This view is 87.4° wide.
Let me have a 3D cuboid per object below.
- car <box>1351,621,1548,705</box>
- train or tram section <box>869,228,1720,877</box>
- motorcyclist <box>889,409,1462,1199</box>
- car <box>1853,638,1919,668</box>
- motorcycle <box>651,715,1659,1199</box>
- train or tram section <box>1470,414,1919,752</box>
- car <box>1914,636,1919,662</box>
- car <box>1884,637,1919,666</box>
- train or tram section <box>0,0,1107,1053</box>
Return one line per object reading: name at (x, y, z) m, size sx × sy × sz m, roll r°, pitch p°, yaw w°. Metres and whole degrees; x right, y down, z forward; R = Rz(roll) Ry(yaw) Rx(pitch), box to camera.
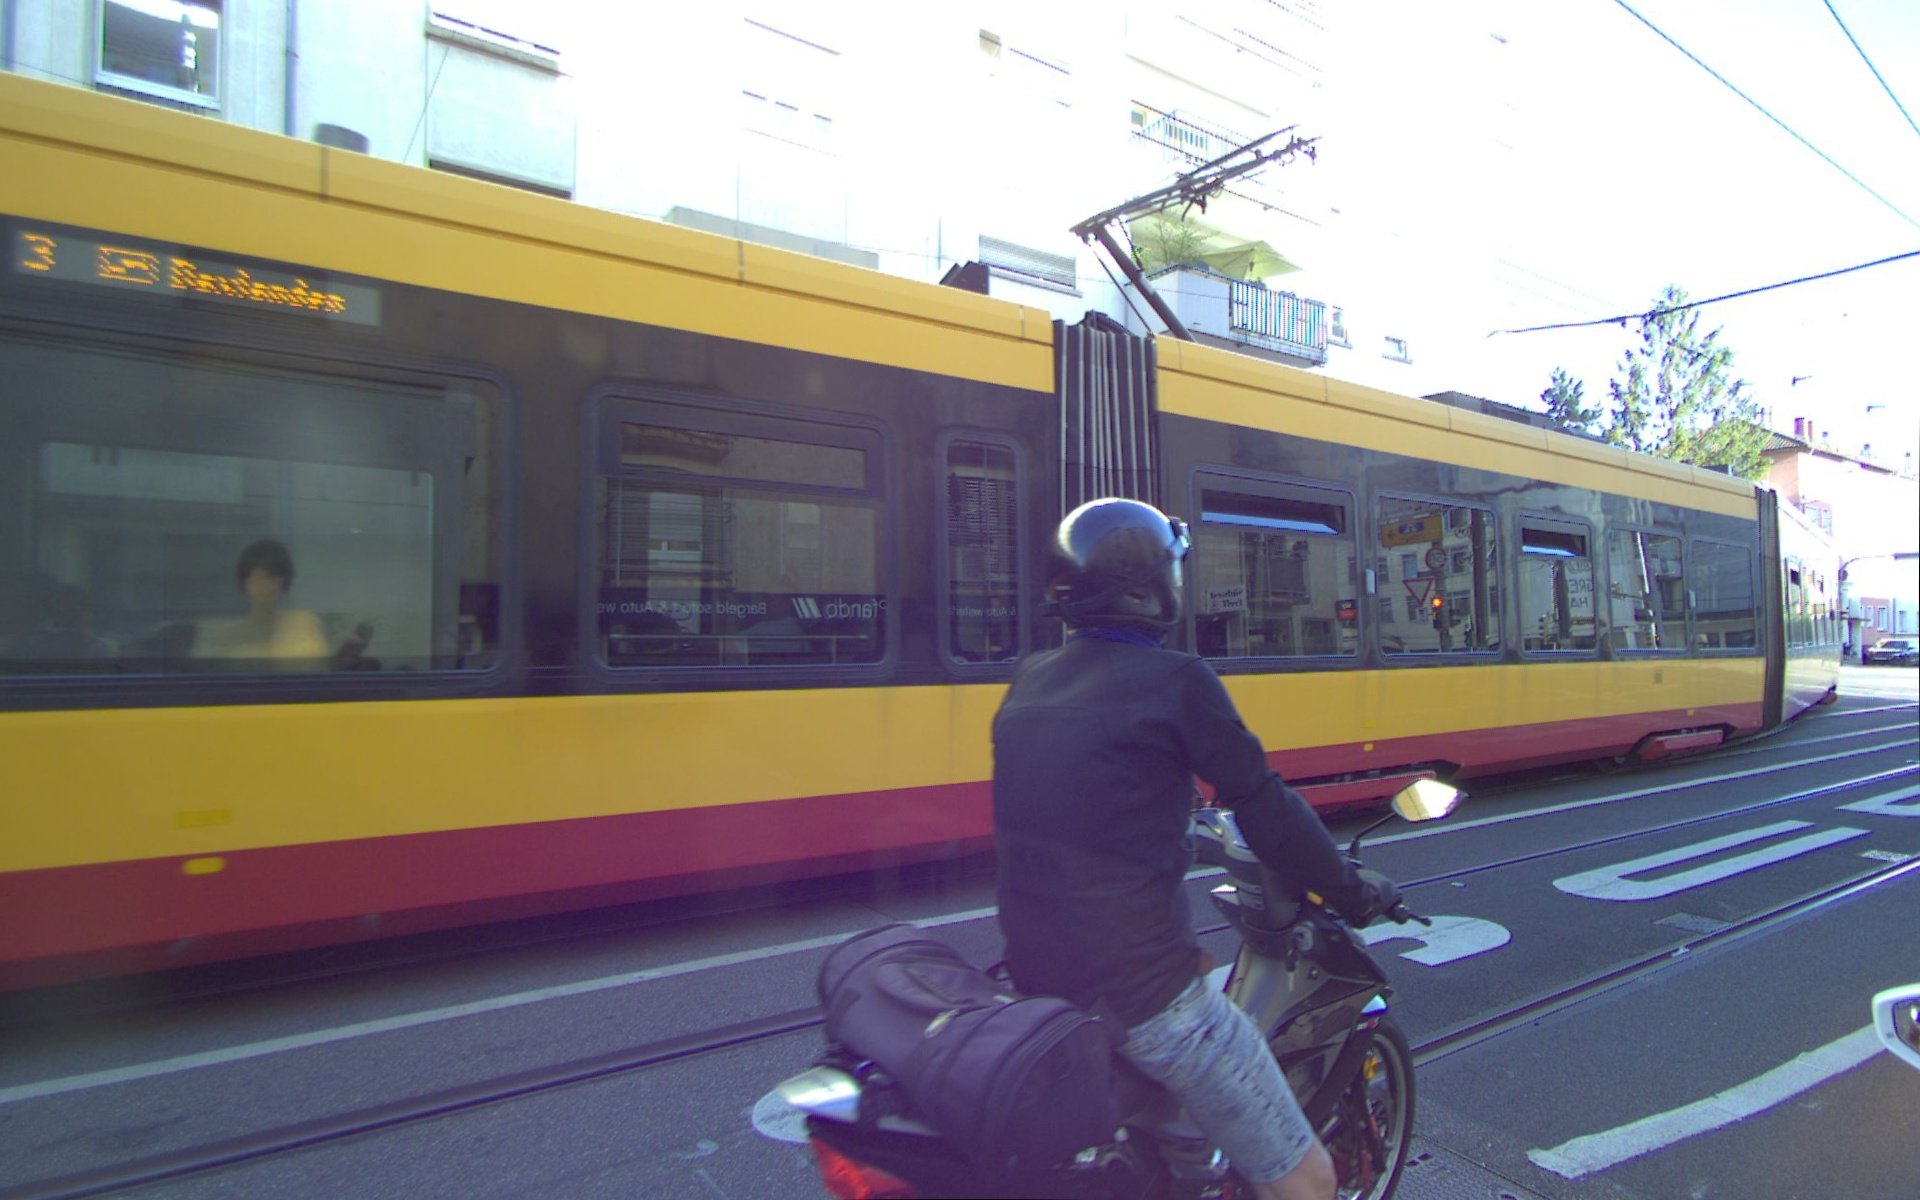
car at (9.966, 1.221, 20.386) m, size 4.030 × 1.552 × 1.858 m, roll 1°, pitch -2°, yaw -34°
train or tram section at (3.768, -0.178, 9.466) m, size 8.994 × 3.679 × 2.806 m, roll 2°, pitch 0°, yaw -35°
motorcyclist at (0.338, 0.510, 1.872) m, size 0.591 × 1.525 × 0.856 m, roll 2°, pitch 0°, yaw -30°
car at (49.608, 2.822, 53.600) m, size 3.949 × 1.440 × 1.784 m, roll 2°, pitch 0°, yaw -31°
motorcycle at (0.486, 0.889, 1.858) m, size 1.958 × 1.235 × 0.534 m, roll 2°, pitch 0°, yaw -31°
train or tram section at (12.944, -0.017, 16.554) m, size 14.148 × 3.680 × 2.722 m, roll 2°, pitch 0°, yaw -40°
car at (58.298, 2.953, 59.381) m, size 4.103 × 1.531 × 1.778 m, roll 2°, pitch 0°, yaw -31°
car at (53.732, 2.889, 56.193) m, size 4.250 × 1.518 × 1.806 m, roll 2°, pitch 0°, yaw -30°
train or tram section at (-5.255, -0.451, 3.328) m, size 12.494 × 3.640 × 3.045 m, roll 2°, pitch -3°, yaw -33°
